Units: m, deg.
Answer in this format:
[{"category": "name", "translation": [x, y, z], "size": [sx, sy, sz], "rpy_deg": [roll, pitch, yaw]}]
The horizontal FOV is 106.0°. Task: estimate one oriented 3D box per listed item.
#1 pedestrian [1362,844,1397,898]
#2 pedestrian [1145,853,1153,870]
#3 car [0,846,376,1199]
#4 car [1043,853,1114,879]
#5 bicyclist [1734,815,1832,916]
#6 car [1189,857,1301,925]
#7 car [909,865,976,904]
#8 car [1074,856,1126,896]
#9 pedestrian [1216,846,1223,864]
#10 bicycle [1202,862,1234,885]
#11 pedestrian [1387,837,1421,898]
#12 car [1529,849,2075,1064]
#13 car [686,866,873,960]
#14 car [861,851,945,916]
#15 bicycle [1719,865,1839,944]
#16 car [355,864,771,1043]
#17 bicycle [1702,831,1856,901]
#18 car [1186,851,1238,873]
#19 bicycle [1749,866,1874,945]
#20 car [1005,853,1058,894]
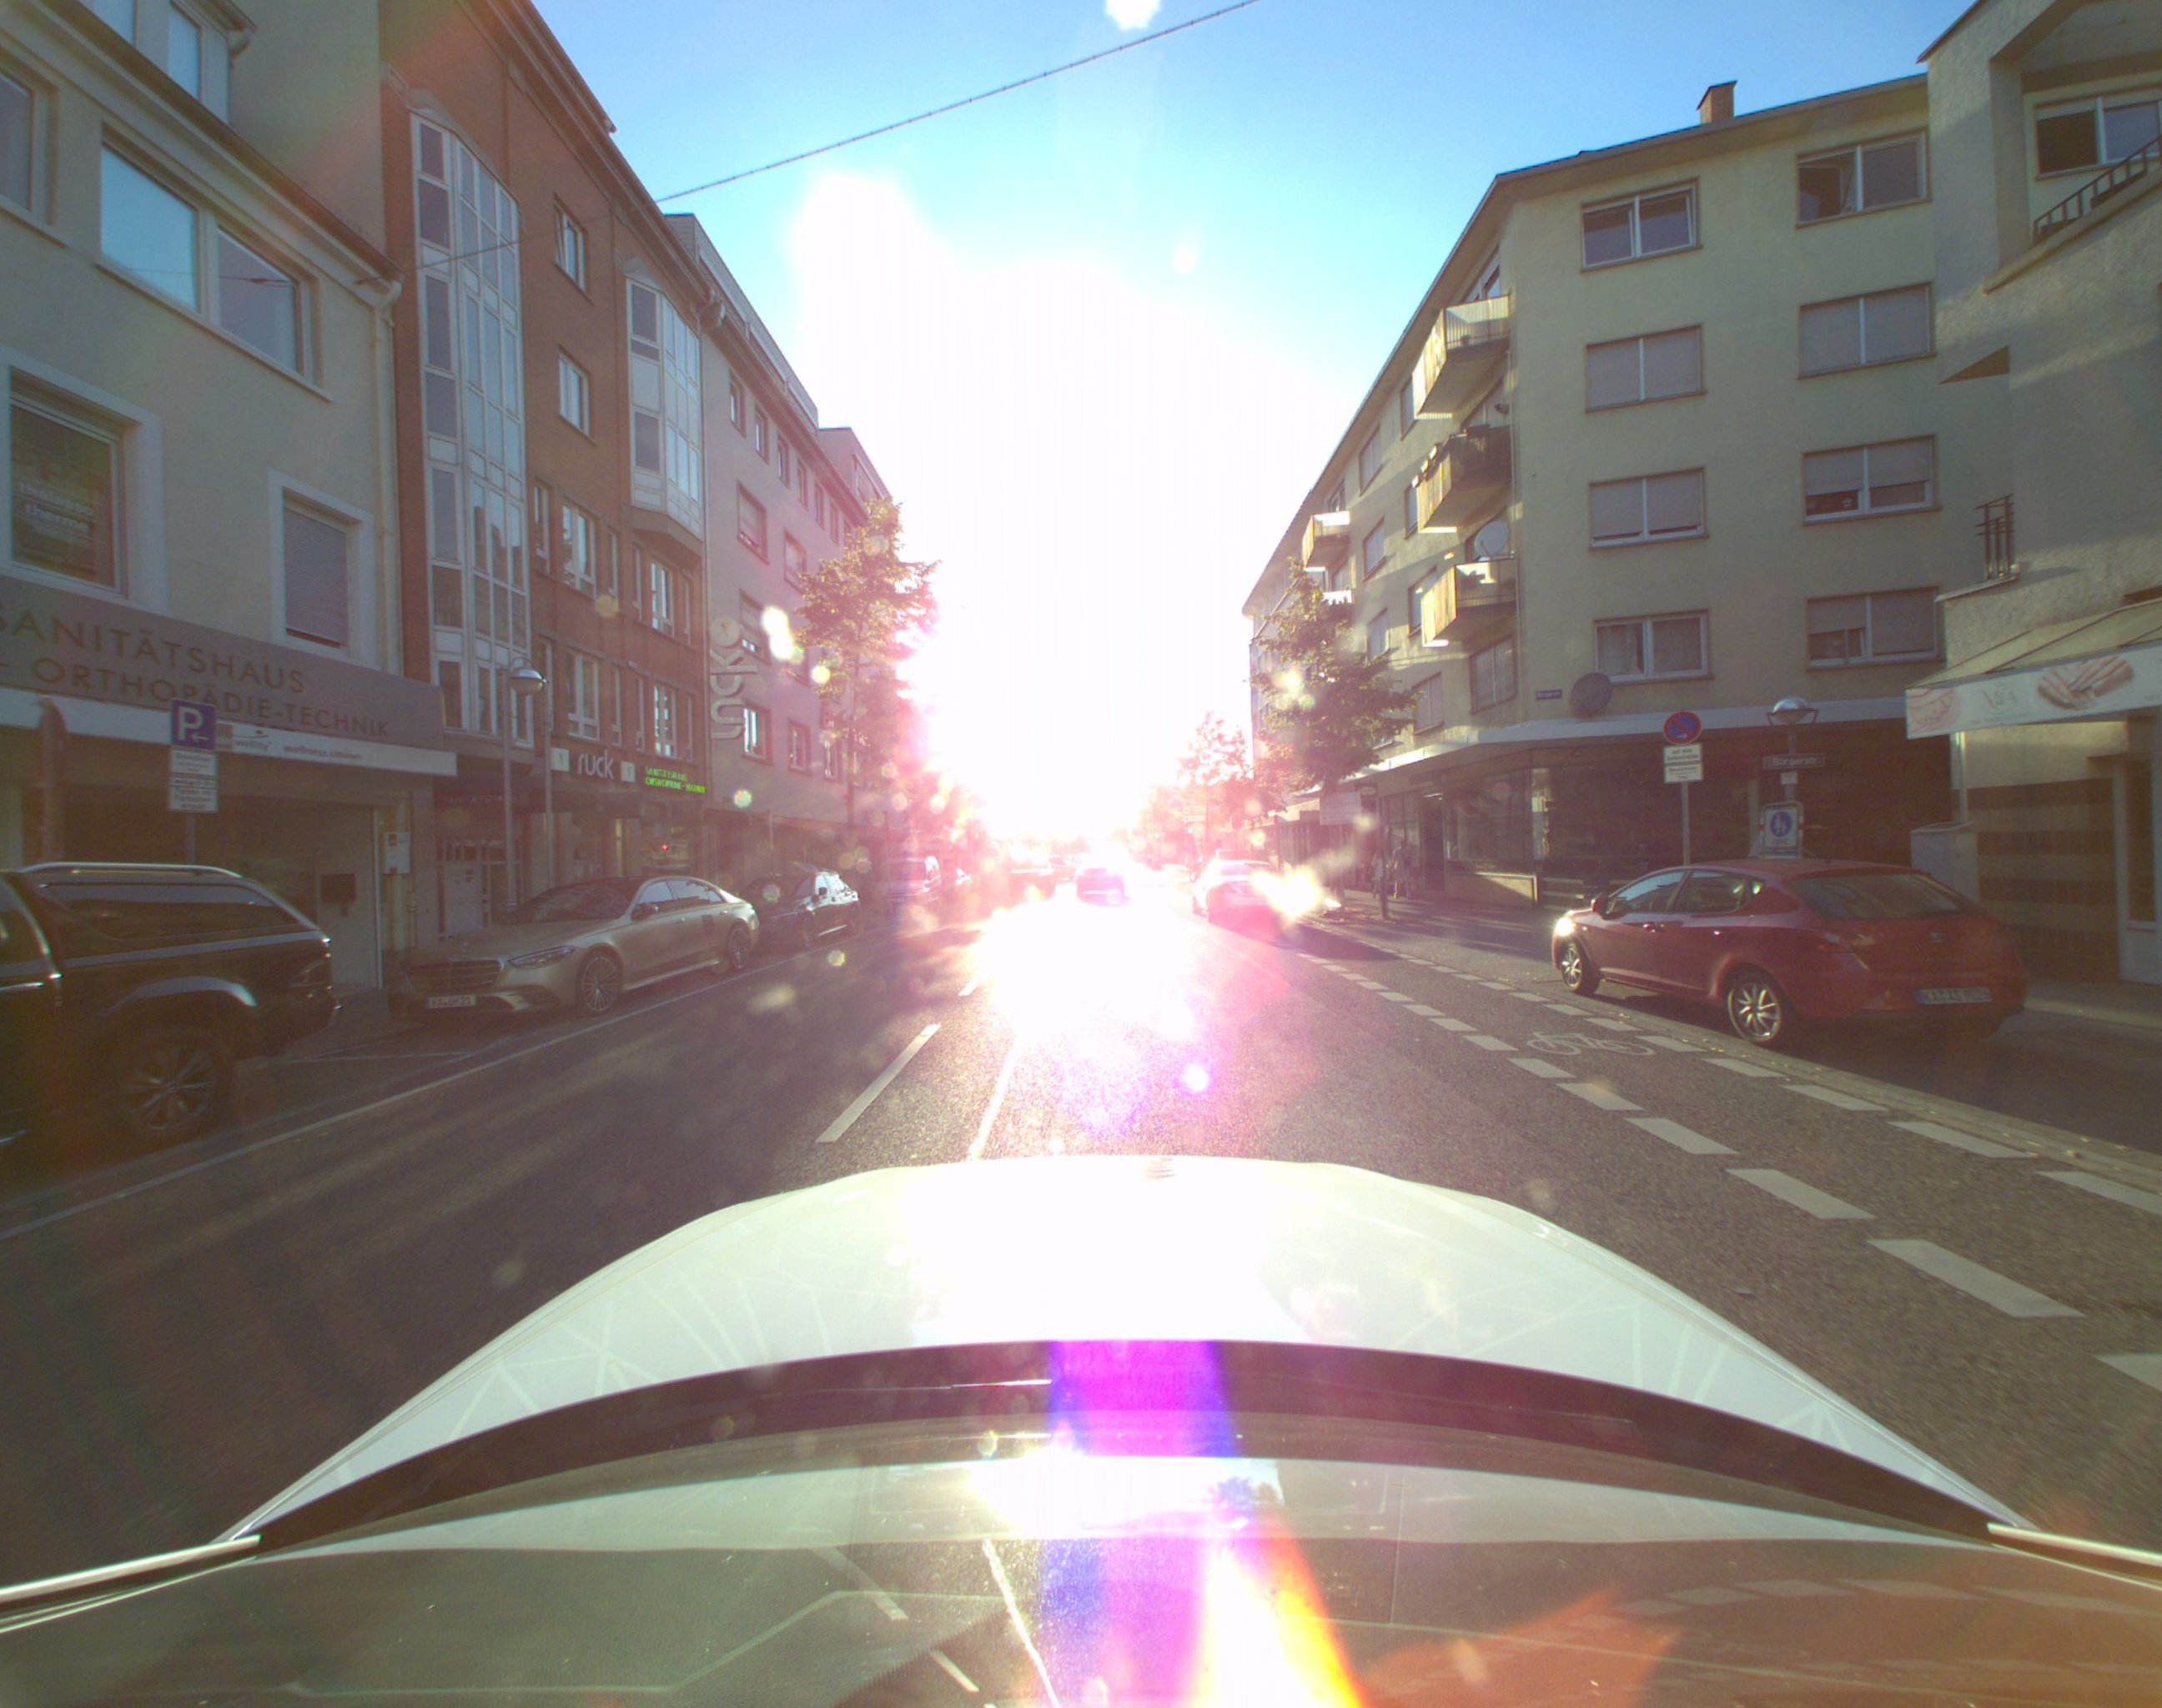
[{"category": "pedestrian", "translation": [8.822, 0.492, 24.082], "size": [0.685, 1.559, 0.863], "rpy_deg": [-2, 0, 0]}, {"category": "pedestrian", "translation": [6.376, 0.694, 76.516], "size": [0.576, 1.644, 0.524], "rpy_deg": [-2, 1, -20]}, {"category": "car", "translation": [-6.485, 0.913, 3.704], "size": [1.821, 1.810, 5.347], "rpy_deg": [-3, 0, 0]}, {"category": "car", "translation": [-0.155, 0.764, 54.597], "size": [4.331, 1.602, 1.913], "rpy_deg": [-2, 1, -24]}, {"category": "bicyclist", "translation": [12.238, 0.210, 14.228], "size": [1.083, 1.702, 0.655], "rpy_deg": [-2, 0, 18]}, {"category": "car", "translation": [3.795, 0.786, 19.622], "size": [1.915, 1.415, 4.550], "rpy_deg": [1, 0, 2]}, {"category": "car", "translation": [-5.304, 1.144, 31.719], "size": [1.827, 1.328, 4.123], "rpy_deg": [-1, -1, 0]}, {"category": "car", "translation": [0.768, 0.817, 32.109], "size": [1.876, 1.415, 4.327], "rpy_deg": [-1, 0, 2]}, {"category": "pedestrian", "translation": [12.804, 0.087, 75.187], "size": [0.496, 1.715, 0.459], "rpy_deg": [-2, 1, -19]}, {"category": "bicycle", "translation": [6.706, 0.955, 39.894], "size": [1.532, 1.145, 0.382], "rpy_deg": [0, 1, 2]}, {"category": "pedestrian", "translation": [9.462, 0.391, 23.882], "size": [0.684, 1.721, 0.718], "rpy_deg": [-3, 0, 7]}, {"category": "car", "translation": [6.092, 0.716, 7.633], "size": [1.697, 1.436, 3.933], "rpy_deg": [-2, 0, 2]}, {"category": "car", "translation": [-5.752, 1.051, 16.233], "size": [1.820, 1.439, 4.555], "rpy_deg": [-4, 0, 2]}, {"category": "car", "translation": [-5.546, 0.865, 25.897], "size": [1.828, 1.854, 4.121], "rpy_deg": [-1, 0, -2]}, {"category": "bicycle", "translation": [10.113, 0.695, 11.876], "size": [0.286, 1.039, 1.717], "rpy_deg": [-1, 0, 1]}, {"category": "car", "translation": [-6.030, 1.001, 10.500], "size": [1.820, 1.556, 5.139], "rpy_deg": [-4, 0, 2]}, {"category": "bicycle", "translation": [12.149, 0.211, 14.238], "size": [1.910, 1.155, 0.655], "rpy_deg": [-2, 0, 18]}, {"category": "car", "translation": [9.474, 0.585, 58.824], "size": [3.356, 1.426, 1.560], "rpy_deg": [-2, 1, -20]}, {"category": "bicycle", "translation": [10.558, 0.705, 11.845], "size": [0.286, 1.039, 1.717], "rpy_deg": [-1, 0, 1]}, {"category": "car", "translation": [-2.120, 0.821, 36.124], "size": [1.915, 1.601, 4.327], "rpy_deg": [-1, 1, 2]}]
